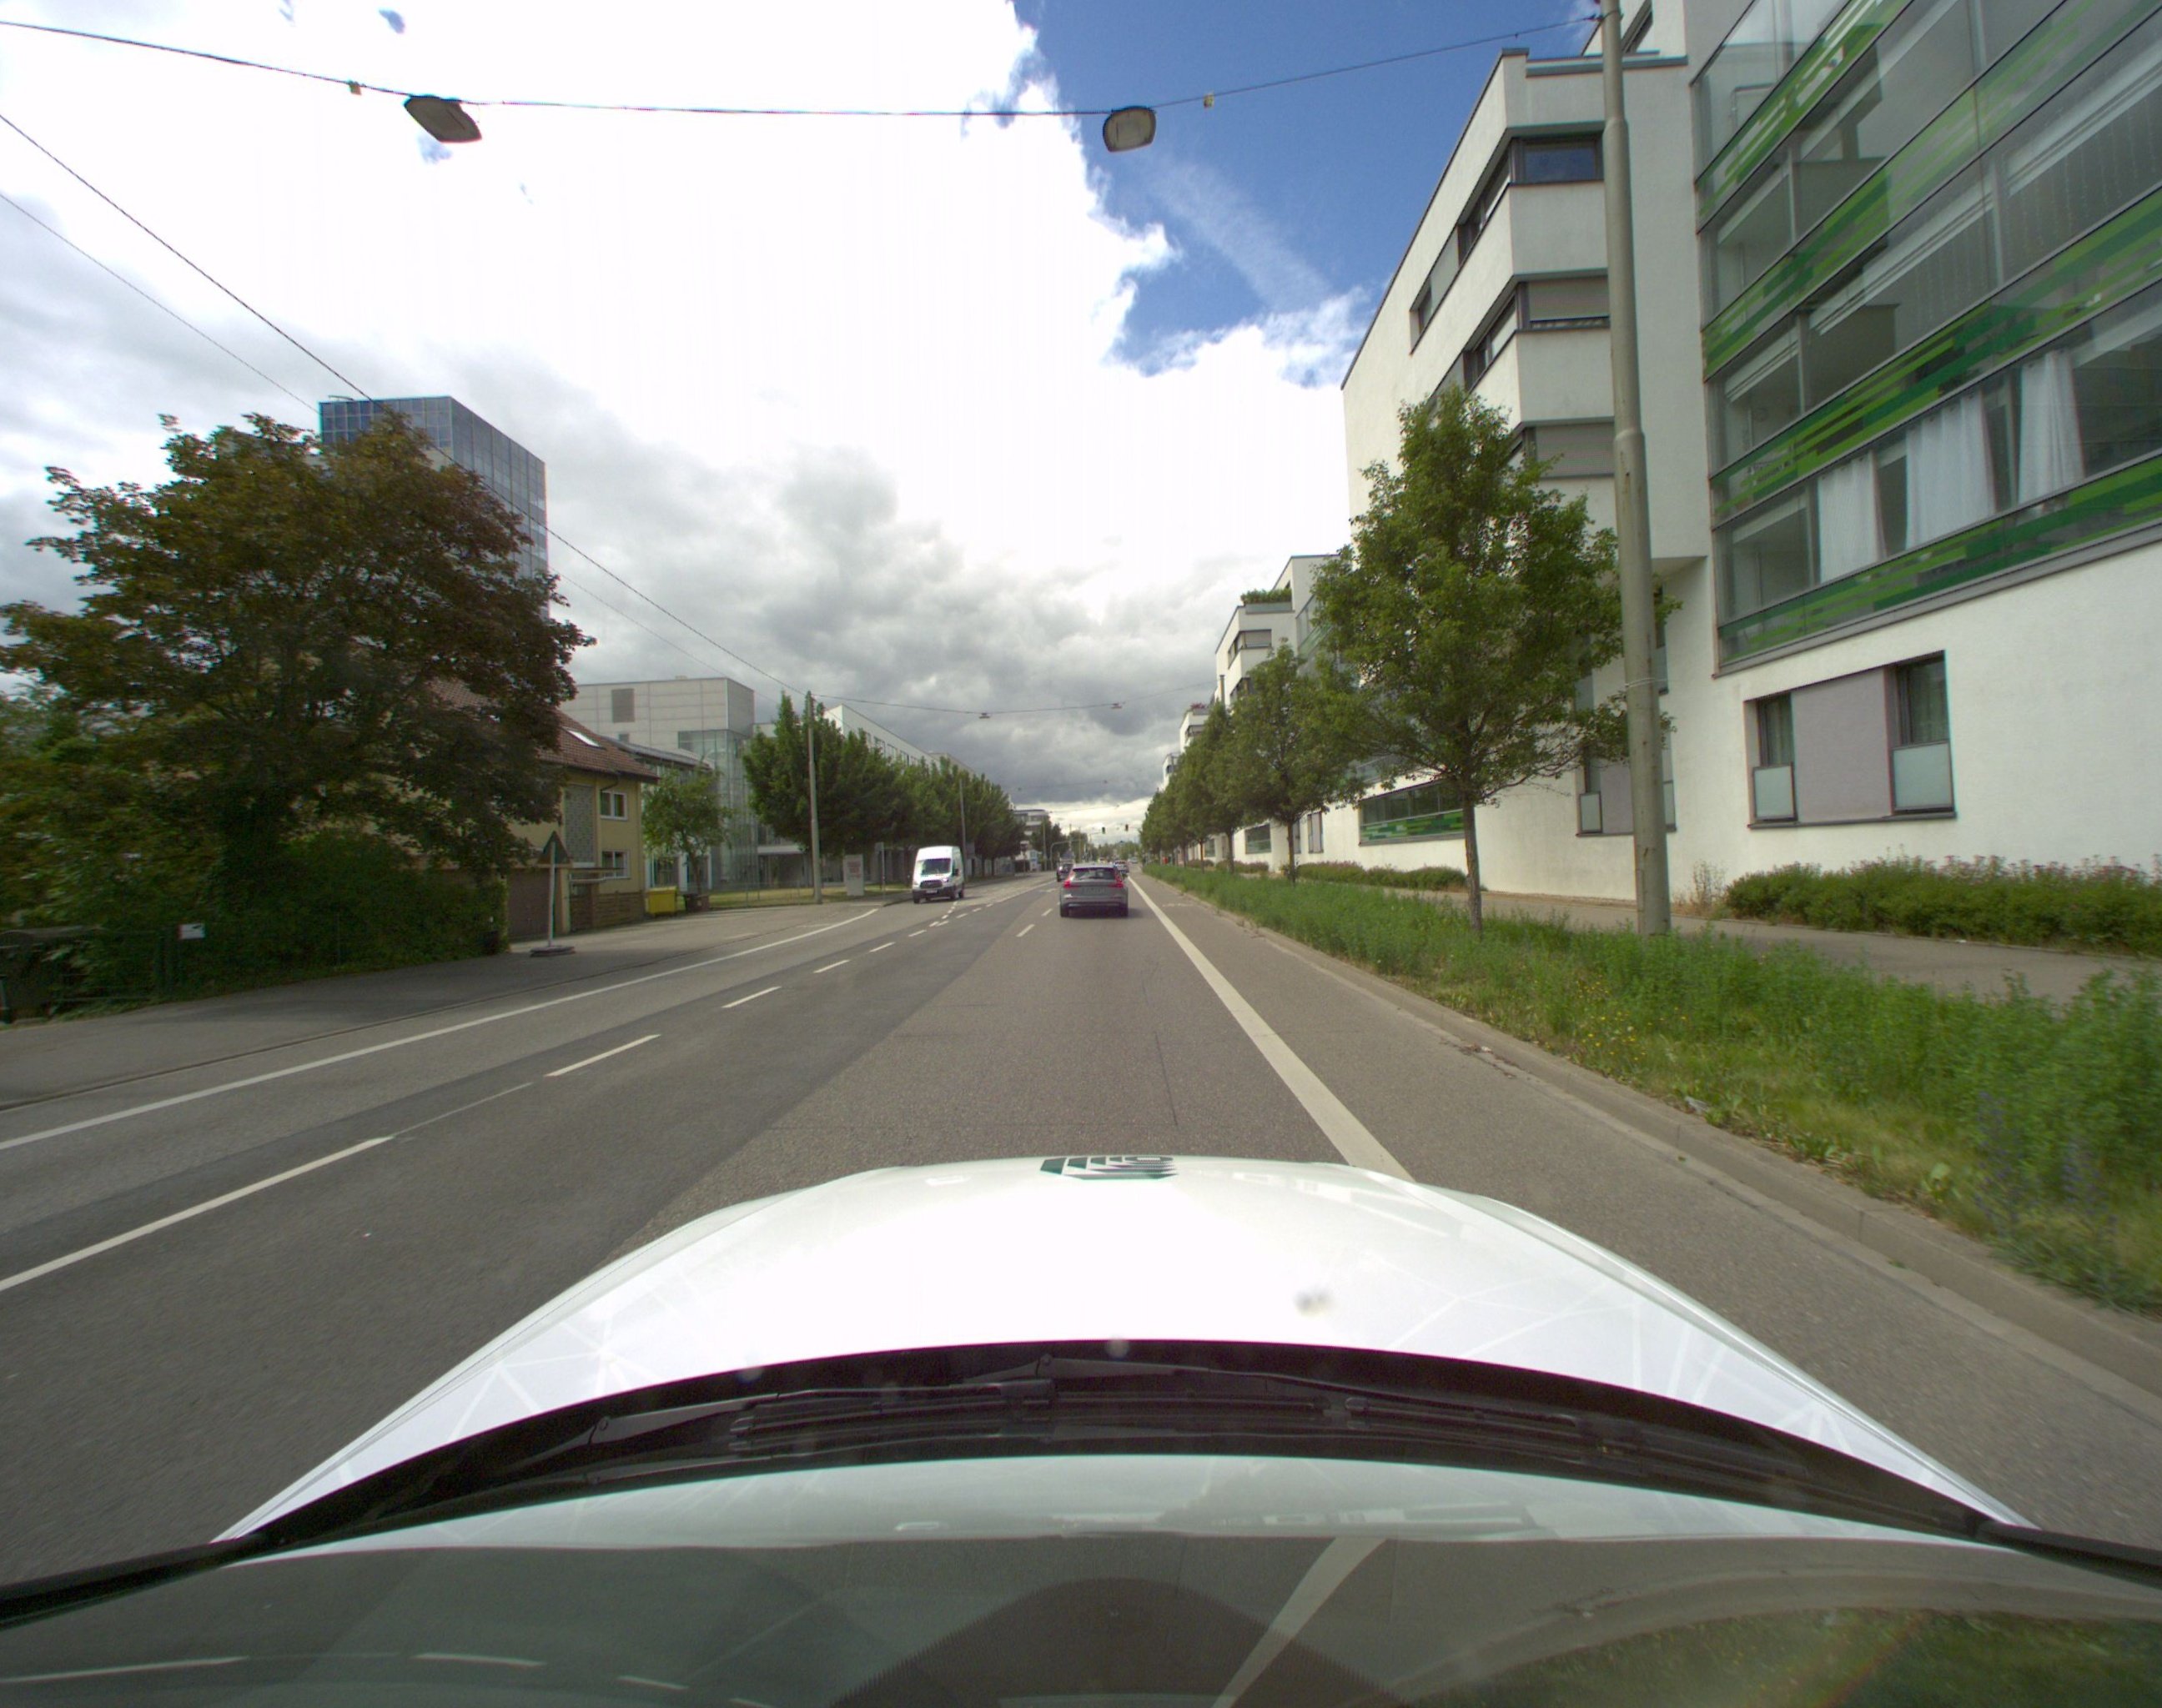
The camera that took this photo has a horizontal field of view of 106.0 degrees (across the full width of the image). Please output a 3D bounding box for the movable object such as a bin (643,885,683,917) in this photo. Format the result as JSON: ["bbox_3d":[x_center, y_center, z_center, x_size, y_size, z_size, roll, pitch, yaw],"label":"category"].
[{"bbox_3d":[-19.515,2.186,38.077,1.411,1.330,1.414,-4,-1,-20],"label":"movable object such as a bin"}]

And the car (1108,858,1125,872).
[{"bbox_3d":[4.197,1.255,96.182,1.838,1.513,4.001,-2,0,1],"label":"car"}]

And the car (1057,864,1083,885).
[{"bbox_3d":[-0.878,1.581,64.549,1.847,1.513,4.001,-2,0,1],"label":"car"}]

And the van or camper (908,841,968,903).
[{"bbox_3d":[-7.015,0.881,40.707,1.989,2.734,6.047,-4,-1,-2],"label":"van or camper"}]

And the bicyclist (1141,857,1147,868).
[{"bbox_3d":[11.900,1.632,154.393,1.010,2.013,1.131,-4,-1,1],"label":"bicyclist"}]

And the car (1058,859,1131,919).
[{"bbox_3d":[0.364,0.932,23.258,1.848,1.513,3.999,-1,-1,0],"label":"car"}]

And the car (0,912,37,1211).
[{"bbox_3d":[-6.433,1.090,2.317,1.655,1.515,4.002,-3,0,2],"label":"car"}]

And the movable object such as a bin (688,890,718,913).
[{"bbox_3d":[-17.410,2.188,37.531,0.742,0.941,1.001,-4,-1,9],"label":"movable object such as a bin"}]

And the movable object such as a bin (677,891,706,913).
[{"bbox_3d":[-18.134,2.241,37.923,0.742,0.941,1.001,-4,-1,9],"label":"movable object such as a bin"}]

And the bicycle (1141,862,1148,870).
[{"bbox_3d":[11.955,2.194,154.460,1.063,1.453,2.978,-4,-1,1],"label":"bicycle"}]
